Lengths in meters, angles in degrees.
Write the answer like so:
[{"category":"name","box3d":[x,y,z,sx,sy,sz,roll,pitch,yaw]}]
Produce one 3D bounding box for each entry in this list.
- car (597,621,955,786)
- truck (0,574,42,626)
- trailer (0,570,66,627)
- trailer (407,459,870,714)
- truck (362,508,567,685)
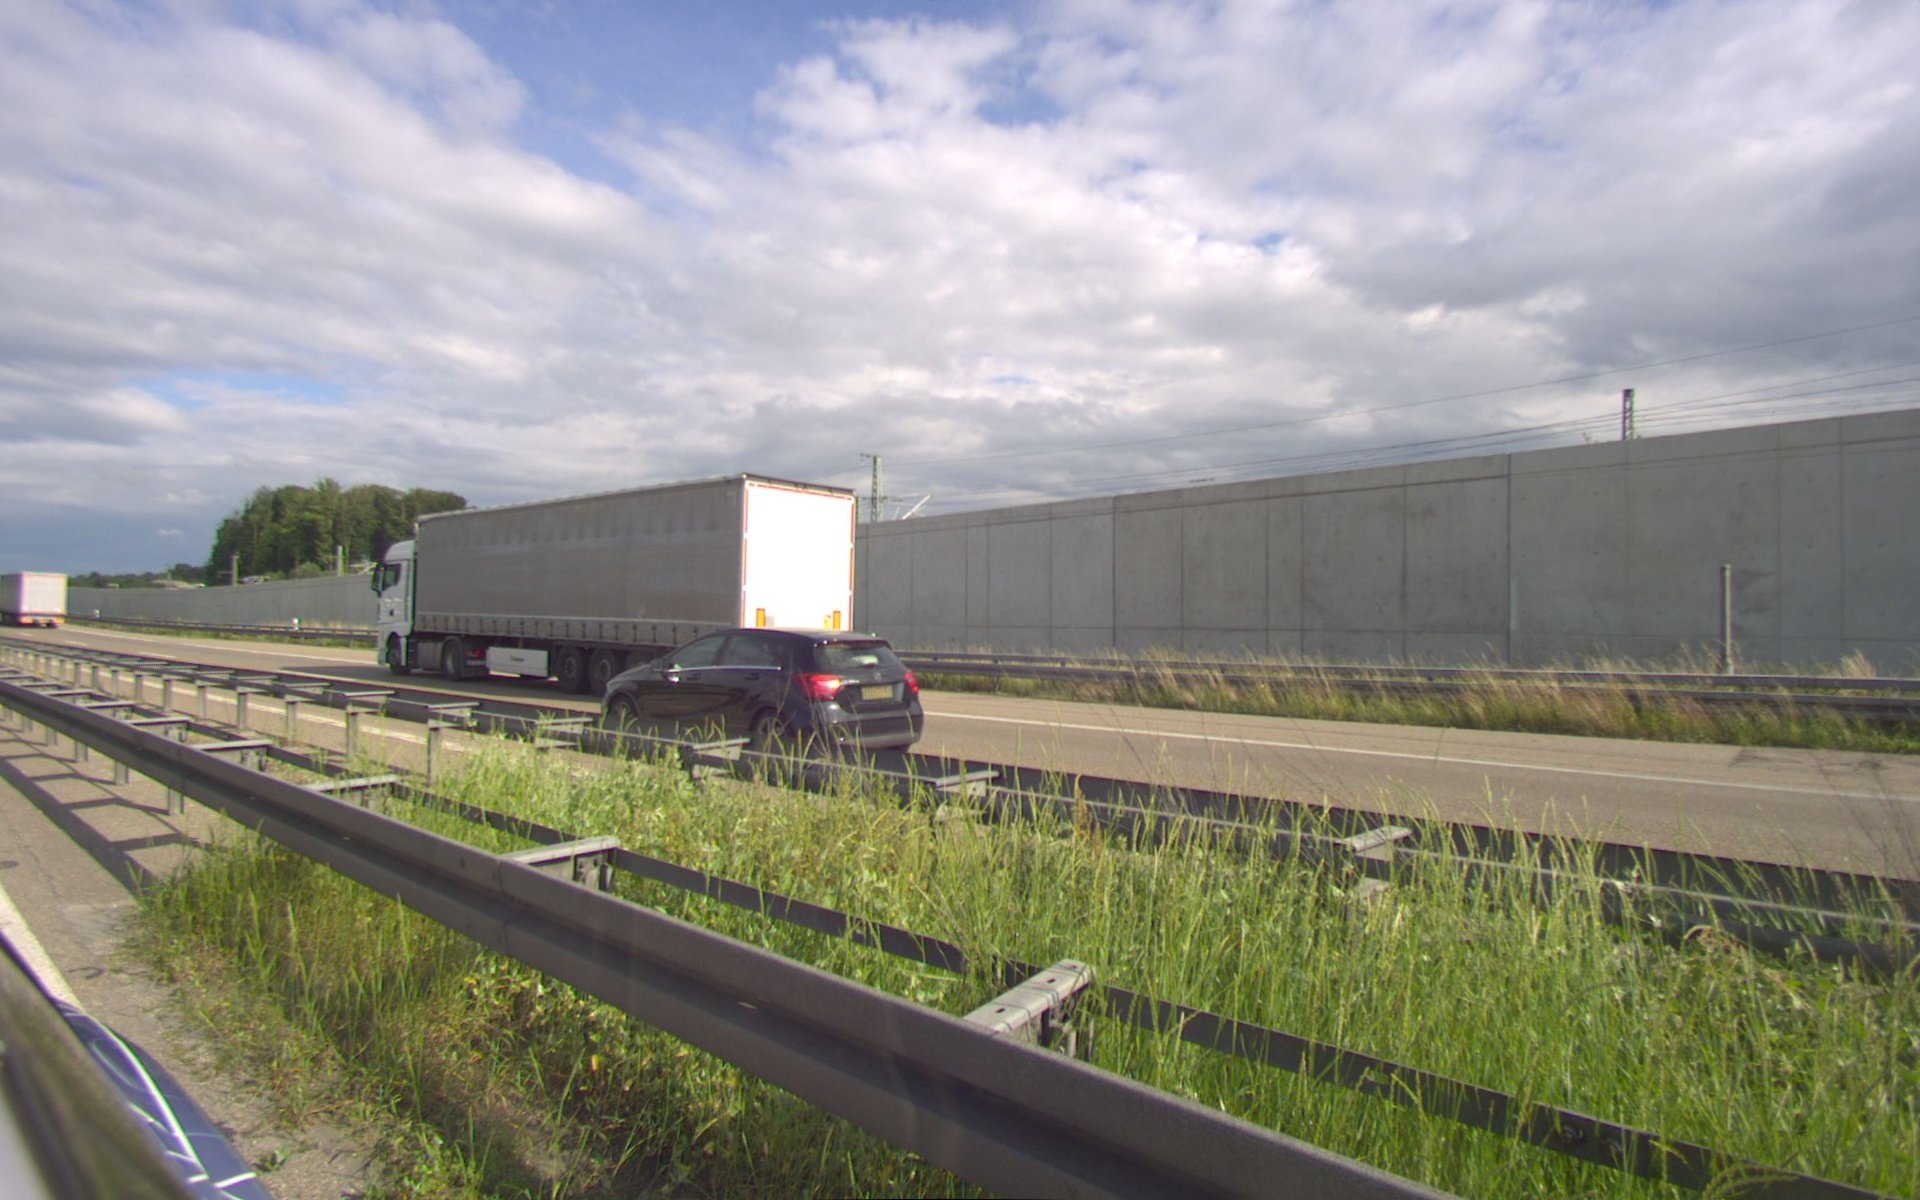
[{"category":"car","box3d":[-2.093,0.961,10.914,3.952,1.462,1.635,-1,-1,39]},{"category":"truck","box3d":[-77.350,0.078,82.769,5.876,4.099,2.657,-1,-2,41]},{"category":"trailer","box3d":[-72.124,-0.003,78.259,13.783,4.069,2.656,-1,-2,41]},{"category":"trailer","box3d":[-7.677,-0.089,21.805,13.511,4.108,2.761,-1,-3,41]},{"category":"truck","box3d":[-12.996,0.013,26.401,5.528,4.119,2.747,-1,-3,41]}]
